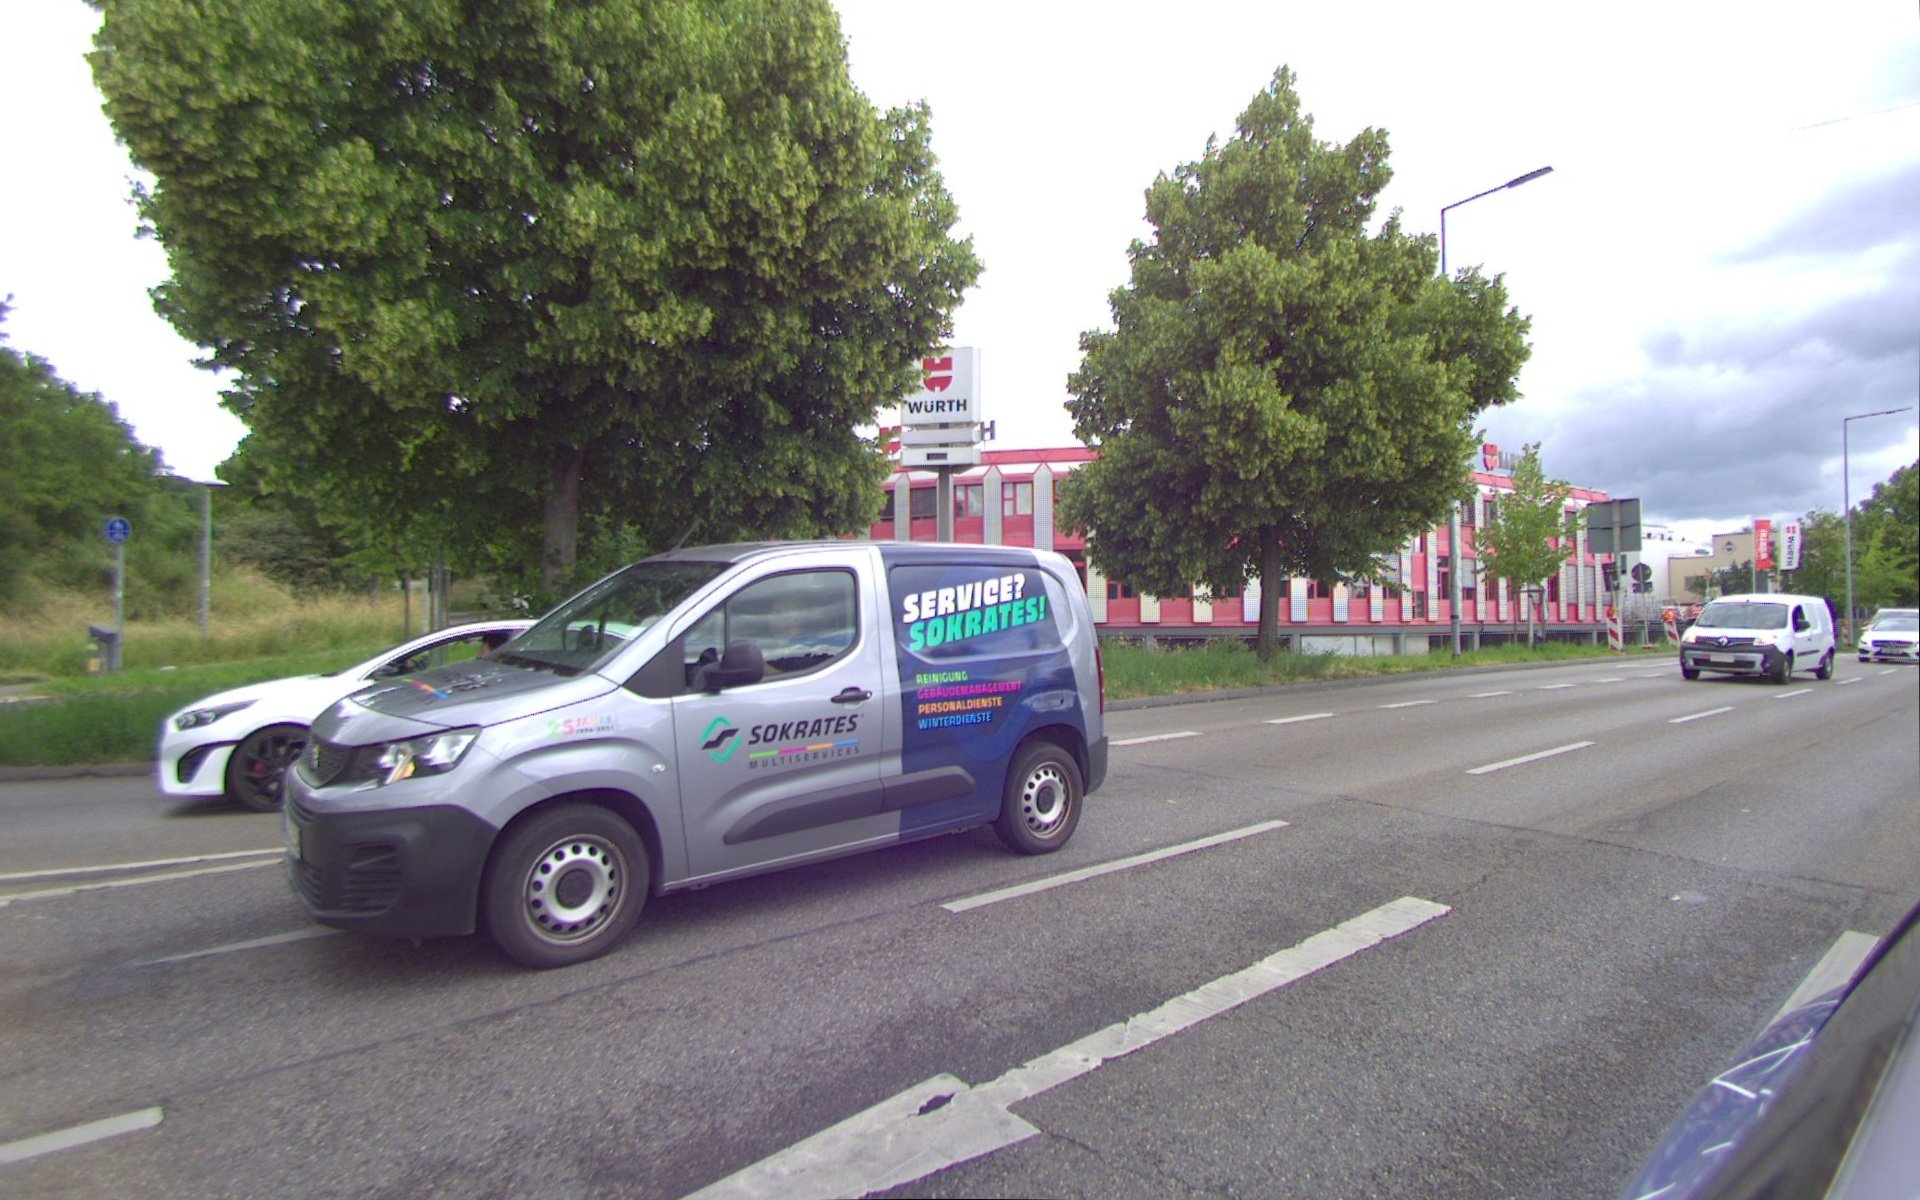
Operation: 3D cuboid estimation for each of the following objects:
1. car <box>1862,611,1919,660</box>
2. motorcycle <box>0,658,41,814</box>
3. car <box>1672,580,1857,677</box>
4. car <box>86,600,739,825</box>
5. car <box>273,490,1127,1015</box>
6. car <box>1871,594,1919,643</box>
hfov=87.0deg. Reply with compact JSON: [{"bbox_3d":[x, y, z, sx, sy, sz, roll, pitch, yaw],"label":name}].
[{"bbox_3d":[29.564,1.128,31.142,4.141,1.358,1.815,4,-2,-35],"label":"car"},{"bbox_3d":[-7.916,0.987,7.161,2.028,1.104,0.760,0,-1,-5],"label":"motorcycle"},{"bbox_3d":[16.846,0.577,21.115,4.607,1.815,1.814,1,-1,-35],"label":"car"},{"bbox_3d":[-4.329,0.771,8.618,4.423,1.438,1.837,-1,-2,-30],"label":"car"},{"bbox_3d":[-1.150,0.508,5.509,4.147,1.802,1.812,0,0,-40],"label":"car"},{"bbox_3d":[40.990,0.843,43.619,4.376,1.930,2.181,4,-3,-42],"label":"car"}]
